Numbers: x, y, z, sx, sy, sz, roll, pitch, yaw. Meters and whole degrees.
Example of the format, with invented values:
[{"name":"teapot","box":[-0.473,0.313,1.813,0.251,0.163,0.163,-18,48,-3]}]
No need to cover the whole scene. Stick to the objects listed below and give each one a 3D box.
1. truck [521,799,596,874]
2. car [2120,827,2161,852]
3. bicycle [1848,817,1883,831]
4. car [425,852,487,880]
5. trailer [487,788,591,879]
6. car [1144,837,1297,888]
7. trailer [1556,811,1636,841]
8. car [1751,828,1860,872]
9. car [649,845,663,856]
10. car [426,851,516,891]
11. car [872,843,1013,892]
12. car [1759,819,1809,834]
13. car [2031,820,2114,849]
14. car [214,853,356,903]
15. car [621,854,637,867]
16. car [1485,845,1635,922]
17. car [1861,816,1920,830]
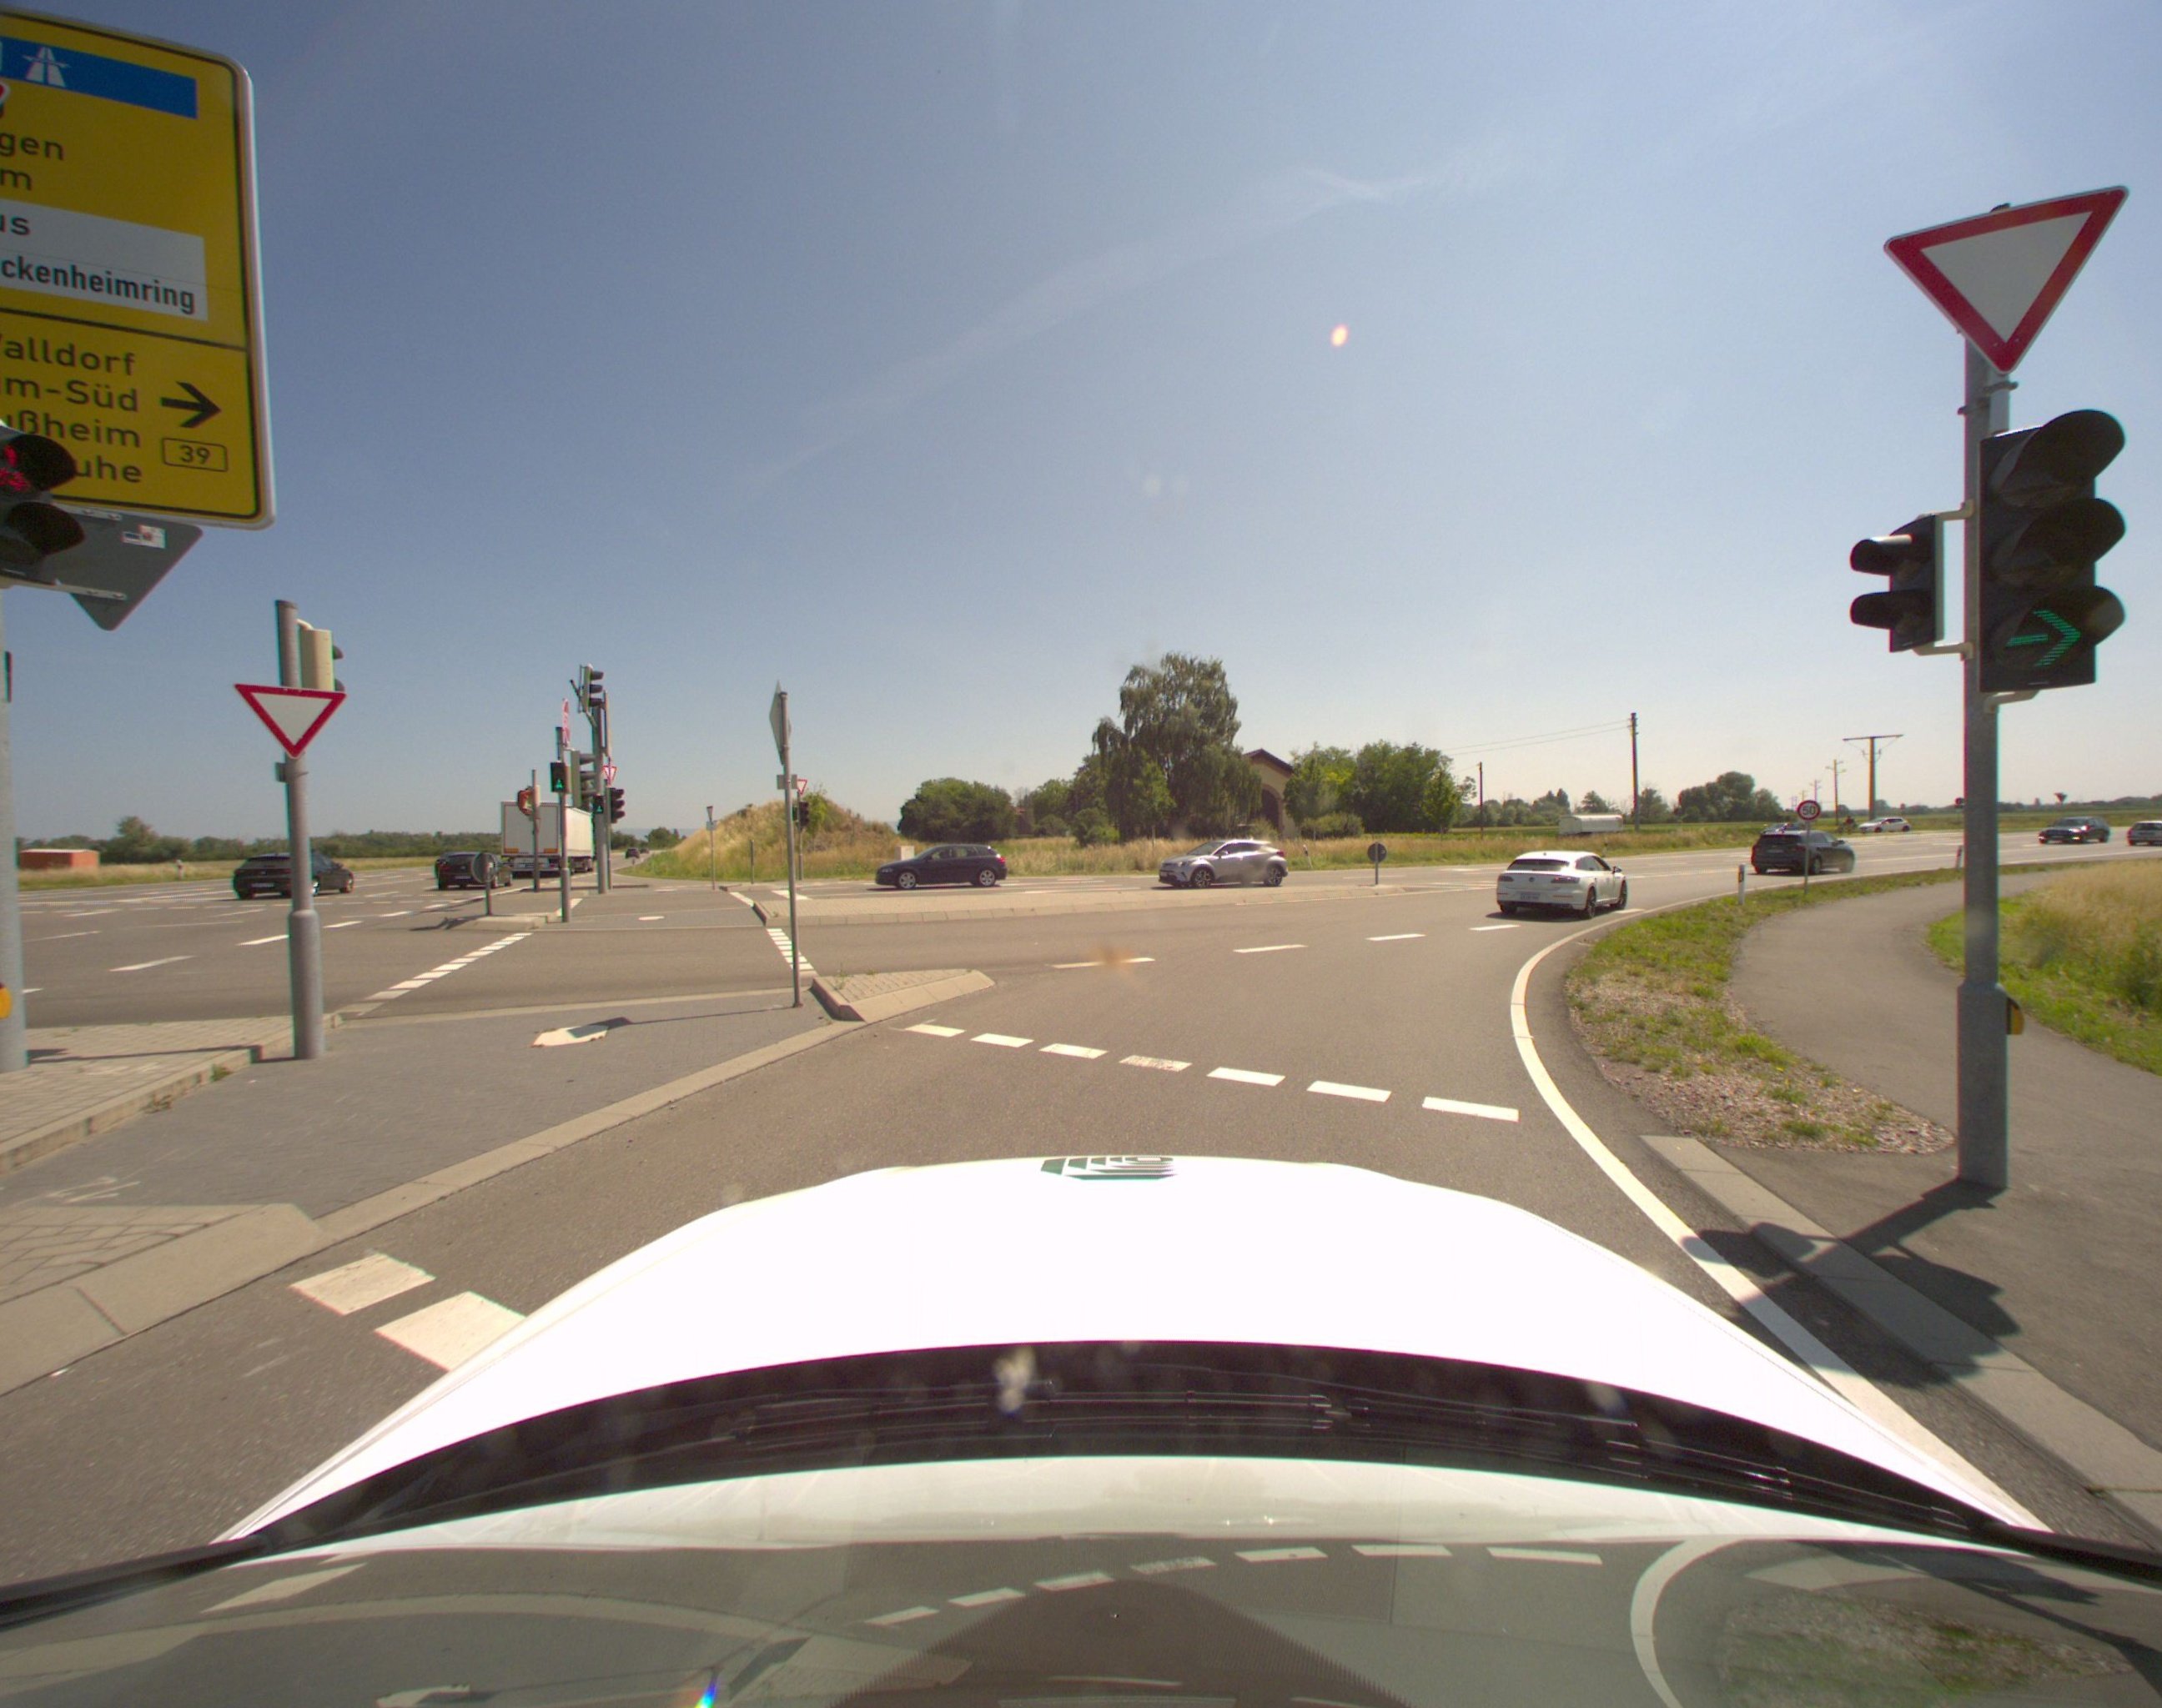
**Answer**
[{"name":"truck","box":[-33.903,-1.053,53.122,3.399,4.542,6.317,0,0,-26]},{"name":"car","box":[62.937,-0.841,47.304,4.088,1.429,1.796,-1,0,-17]},{"name":"bicycle","box":[85.898,-3.236,89.160,0.906,1.372,2.589,0,-1,-34]},{"name":"car","box":[-34.031,0.622,44.458,1.682,1.411,4.431,-1,0,-24]},{"name":"trailer","box":[-30.876,-1.017,47.014,3.399,4.542,12.760,0,0,-26]},{"name":"car","box":[4.489,0.225,26.188,4.552,1.543,1.859,0,1,-21]},{"name":"trailer","box":[45.810,-2.521,72.494,6.382,2.455,2.670,-2,2,-19]},{"name":"car","box":[28.168,-0.168,31.635,4.391,1.616,1.922,-1,0,-30]},{"name":"car","box":[-73.943,-0.631,141.793,1.991,1.869,4.428,0,0,-27]},{"name":"car","box":[-23.686,0.619,31.803,1.792,1.430,4.347,0,0,-23]},{"name":"car","box":[-4.547,0.387,26.689,4.275,1.368,1.764,-2,2,-21]},{"name":"car","box":[65.846,-2.604,76.268,3.833,1.387,1.671,-1,2,-16]},{"name":"car","box":[62.015,-1.255,50.948,4.324,1.650,1.861,-2,2,-18]},{"name":"car","box":[-25.896,0.725,26.710,1.898,1.447,4.489,-1,0,-24]},{"name":"car","box":[-70.914,1.042,127.901,1.991,1.894,4.428,0,0,-27]},{"name":"car","box":[11.095,0.564,18.711,4.635,1.433,1.831,-2,3,-45]},{"name":"car","box":[79.136,-3.005,79.617,4.007,1.332,1.699,0,2,3]}]
